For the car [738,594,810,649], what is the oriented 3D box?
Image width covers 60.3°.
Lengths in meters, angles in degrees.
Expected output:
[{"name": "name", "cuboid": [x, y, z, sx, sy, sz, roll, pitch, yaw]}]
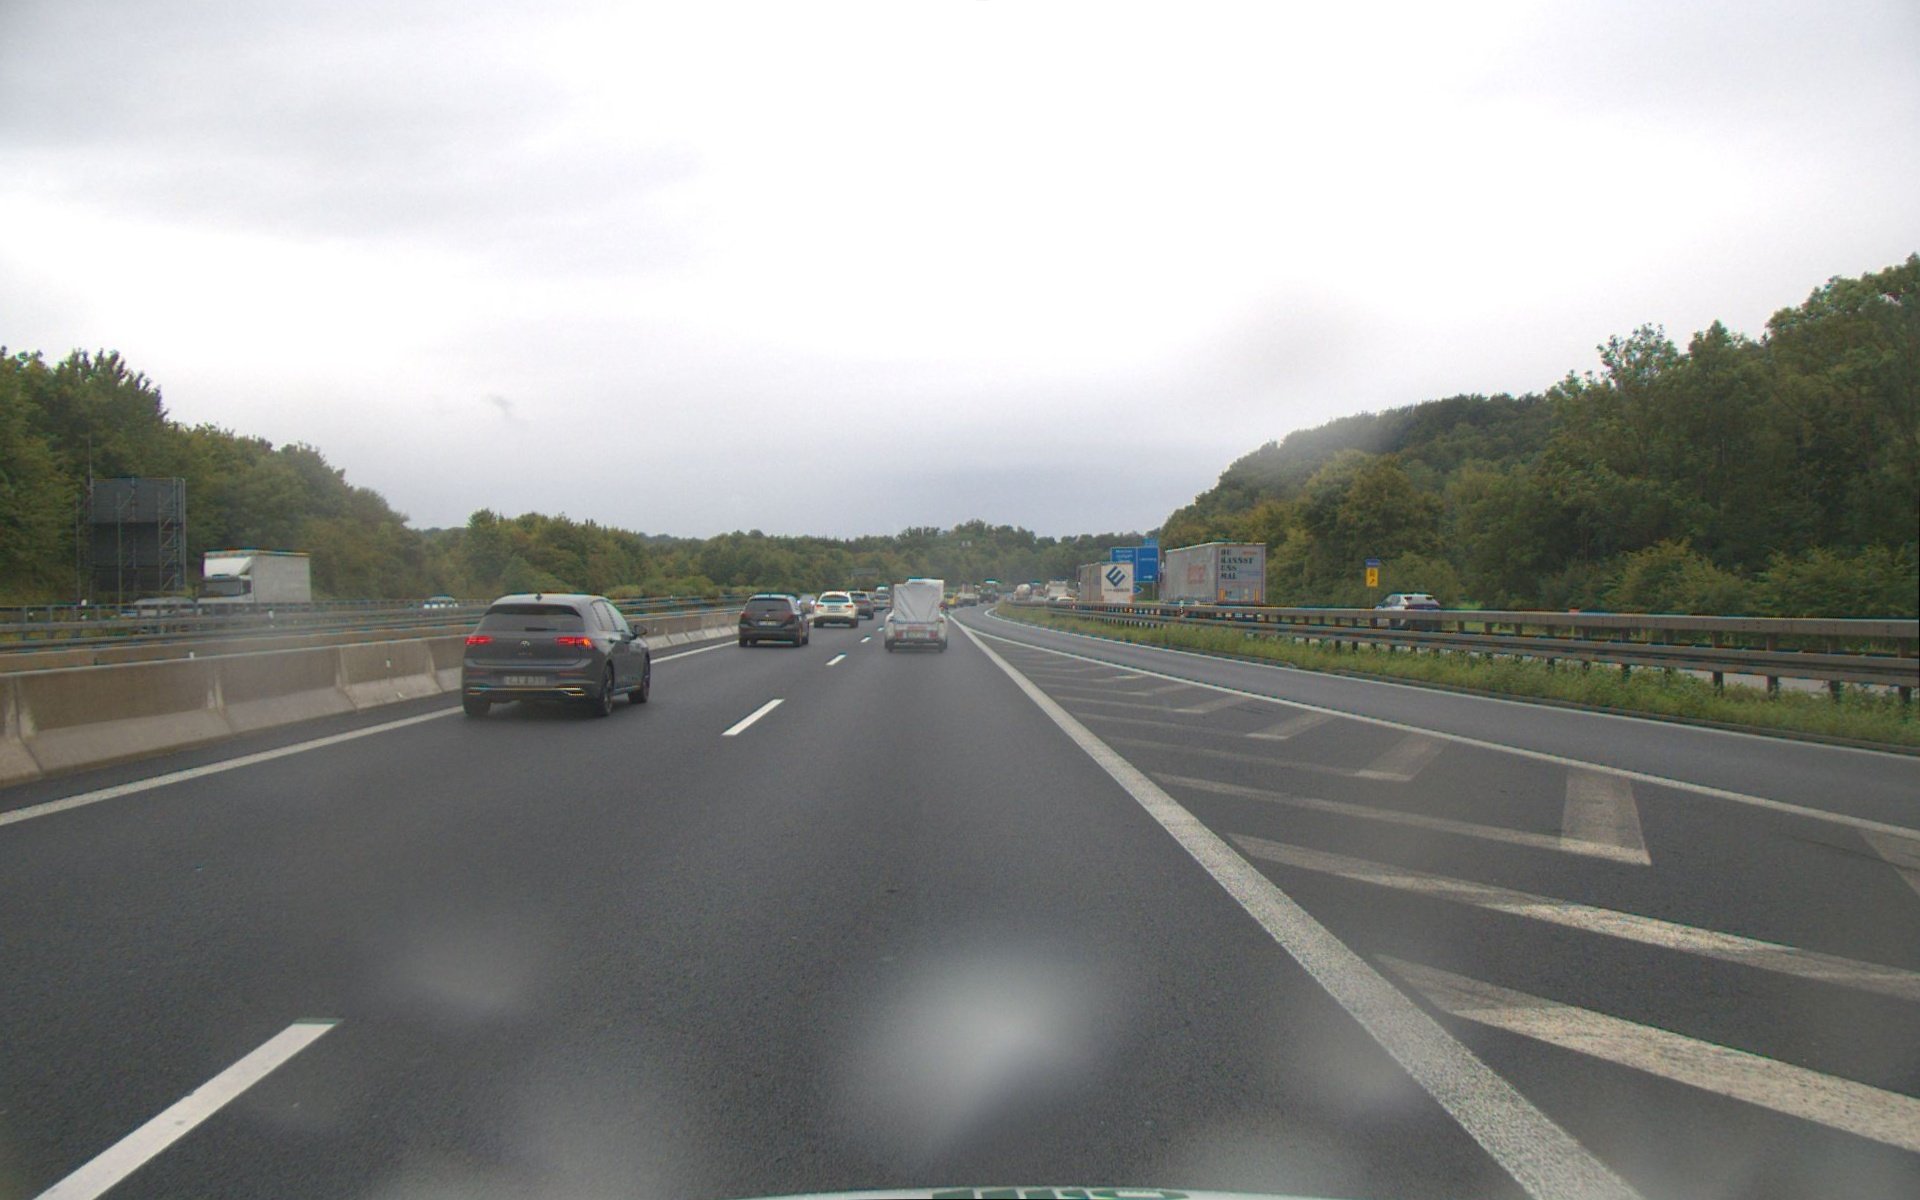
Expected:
[{"name": "car", "cuboid": [-5.356, 0.583, 48.154, 1.752, 1.484, 4.799, 1, 0, -3]}]

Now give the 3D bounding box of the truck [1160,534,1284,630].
[{"name": "truck", "cuboid": [13.639, -0.866, 88.113, 3.743, 4.620, 16.882, 0, 0, -1]}]

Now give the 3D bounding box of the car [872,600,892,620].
[{"name": "car", "cuboid": [-7.264, 0.947, 153.726, 1.703, 1.825, 3.999, 1, 0, -1]}]

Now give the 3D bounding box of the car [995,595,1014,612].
[{"name": "car", "cuboid": [4.216, 0.334, 157.232, 1.612, 1.601, 3.999, 1, 0, -1]}]

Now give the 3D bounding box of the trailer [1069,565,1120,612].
[{"name": "trailer", "cuboid": [10.959, -0.908, 135.334, 2.880, 3.588, 8.413, 1, 0, -4]}]

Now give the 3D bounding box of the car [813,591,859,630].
[{"name": "car", "cuboid": [-5.730, 0.465, 76.841, 2.007, 1.700, 4.538, 1, 0, -3]}]

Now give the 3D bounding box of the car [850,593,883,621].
[{"name": "car", "cuboid": [-5.890, 0.424, 104.561, 1.936, 1.733, 4.801, 1, 0, -2]}]

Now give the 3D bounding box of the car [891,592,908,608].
[{"name": "car", "cuboid": [-6.691, 0.005, 183.230, 1.782, 1.691, 4.016, 0, 0, -1]}]

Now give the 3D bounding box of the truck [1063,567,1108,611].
[{"name": "truck", "cuboid": [10.621, -0.885, 140.147, 2.880, 3.588, 5.922, 1, 0, -4]}]

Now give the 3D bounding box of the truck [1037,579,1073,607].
[{"name": "truck", "cuboid": [12.965, -0.920, 226.433, 3.750, 3.723, 8.263, 1, 0, -5]}]

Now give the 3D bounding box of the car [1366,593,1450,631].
[{"name": "car", "cuboid": [18.299, 0.464, 67.799, 1.784, 1.530, 5.027, 0, 0, -4]}]

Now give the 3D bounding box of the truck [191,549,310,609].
[{"name": "truck", "cuboid": [-36.537, -1.056, 85.560, 2.684, 2.923, 8.538, 0, 0, -2]}]

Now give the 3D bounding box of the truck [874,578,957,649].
[{"name": "truck", "cuboid": [-1.312, 0.390, 47.065, 2.197, 1.871, 6.581, 0, -1, -2]}]

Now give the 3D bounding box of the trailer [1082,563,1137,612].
[{"name": "trailer", "cuboid": [11.419, -0.908, 127.108, 3.017, 3.588, 8.080, 1, 0, -3]}]

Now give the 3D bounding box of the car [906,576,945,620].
[{"name": "car", "cuboid": [-2.268, -0.141, 106.537, 2.285, 2.773, 6.535, 0, 0, -3]}]

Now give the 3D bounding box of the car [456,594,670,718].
[{"name": "car", "cuboid": [-5.066, 0.660, 21.720, 1.793, 1.450, 4.367, 1, 0, -1]}]

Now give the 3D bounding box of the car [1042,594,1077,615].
[{"name": "car", "cuboid": [8.067, 0.351, 134.366, 1.956, 1.645, 5.071, 0, 0, -7]}]
